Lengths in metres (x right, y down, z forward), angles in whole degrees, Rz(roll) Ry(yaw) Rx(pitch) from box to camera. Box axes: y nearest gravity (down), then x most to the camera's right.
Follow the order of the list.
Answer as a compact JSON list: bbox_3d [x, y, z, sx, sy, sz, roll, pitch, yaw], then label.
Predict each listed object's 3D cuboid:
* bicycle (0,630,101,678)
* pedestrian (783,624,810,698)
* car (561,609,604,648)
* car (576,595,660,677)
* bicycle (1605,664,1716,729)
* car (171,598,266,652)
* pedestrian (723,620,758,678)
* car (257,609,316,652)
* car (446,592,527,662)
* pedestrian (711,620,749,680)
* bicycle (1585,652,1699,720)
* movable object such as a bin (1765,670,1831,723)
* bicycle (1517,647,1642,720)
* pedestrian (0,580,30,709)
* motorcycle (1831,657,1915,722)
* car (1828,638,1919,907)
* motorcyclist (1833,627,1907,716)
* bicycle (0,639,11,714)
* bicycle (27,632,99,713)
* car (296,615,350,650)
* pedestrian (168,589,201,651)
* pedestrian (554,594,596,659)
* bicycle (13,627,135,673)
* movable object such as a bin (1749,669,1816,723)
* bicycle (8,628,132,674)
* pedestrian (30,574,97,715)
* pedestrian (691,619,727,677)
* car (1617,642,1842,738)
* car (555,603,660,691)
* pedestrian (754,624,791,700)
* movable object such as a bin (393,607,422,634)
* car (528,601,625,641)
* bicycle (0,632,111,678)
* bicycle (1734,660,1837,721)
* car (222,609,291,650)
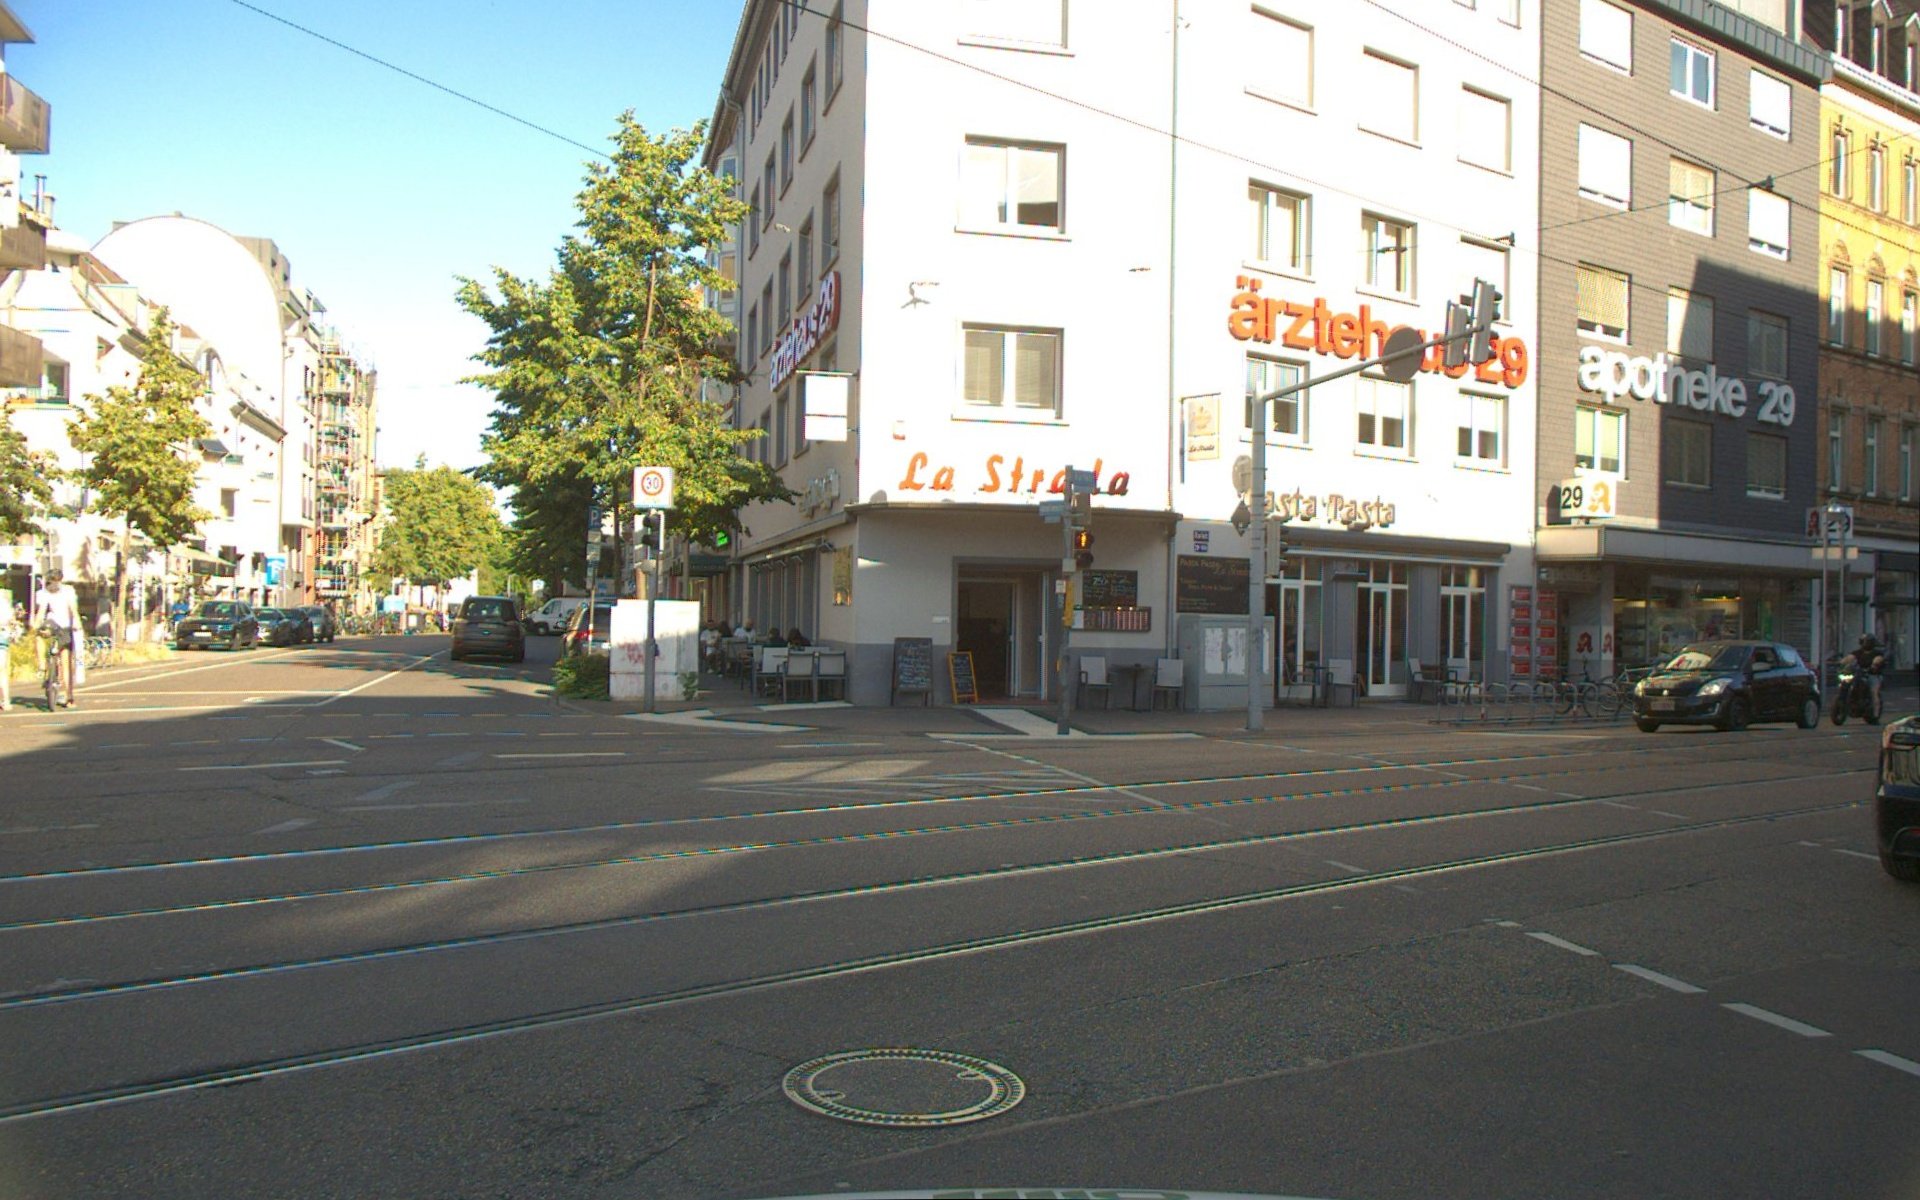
[{"bbox_3d":[-19.405,1.148,34.941,2.192,0.975,0.650,2,-1,-27],"label":"bicycle"},{"bbox_3d":[-3.021,1.123,30.571,0.478,1.345,0.652,1,-1,-6],"label":"pedestrian"},{"bbox_3d":[-18.966,1.404,83.102,1.959,1.856,3.986,2,-1,-13],"label":"car"},{"bbox_3d":[-8.488,0.862,40.831,1.871,1.884,4.273,2,-1,-13],"label":"car"},{"bbox_3d":[14.020,1.914,33.139,0.767,1.213,1.911,2,-1,-42],"label":"bicycle"},{"bbox_3d":[-24.190,0.811,54.073,1.959,1.626,3.988,2,-1,-12],"label":"car"},{"bbox_3d":[-5.350,1.177,40.245,0.718,1.384,0.955,1,-1,-14],"label":"pedestrian"},{"bbox_3d":[-27.043,1.202,66.514,1.689,1.638,3.583,1,-1,-14],"label":"car"},{"bbox_3d":[-12.849,0.724,45.072,1.871,1.764,4.273,2,-1,-13],"label":"car"},{"bbox_3d":[-5.419,1.165,38.923,0.719,1.371,1.055,1,-1,-16],"label":"pedestrian"},{"bbox_3d":[13.430,1.672,32.627,0.767,1.193,1.911,2,0,-42],"label":"bicycle"},{"bbox_3d":[18.482,2.109,36.465,0.691,1.082,1.088,2,0,-37],"label":"movable object such as a bin"},{"bbox_3d":[11.774,1.573,31.488,0.767,1.245,2.077,2,0,-42],"label":"bicycle"},{"bbox_3d":[-13.317,0.604,22.804,0.769,1.758,0.554,3,-1,-29],"label":"pedestrian"},{"bbox_3d":[16.590,1.618,30.035,2.095,1.139,0.564,2,-2,-38],"label":"motorcycle"},{"bbox_3d":[7.169,1.000,10.096,4.323,1.452,1.848,2,0,-41],"label":"car"},{"bbox_3d":[16.580,1.292,30.125,1.133,1.585,0.795,2,-2,-37],"label":"motorcyclist"},{"bbox_3d":[-13.246,1.034,22.367,0.545,0.985,1.780,1,-1,-25],"label":"bicycle"},{"bbox_3d":[-12.379,0.983,22.864,0.749,1.025,1.711,-1,0,-25],"label":"bicycle"},{"bbox_3d":[-27.462,1.395,71.392,1.757,1.427,3.890,2,-1,-15],"label":"car"},{"bbox_3d":[-26.561,0.678,56.628,0.940,2.049,1.080,-2,0,-27],"label":"pedestrian"},{"bbox_3d":[-11.718,0.804,50.333,0.938,1.949,1.105,1,-1,2],"label":"pedestrian"},{"bbox_3d":[-20.170,1.142,37.712,2.366,1.023,0.651,2,-1,-25],"label":"bicycle"},{"bbox_3d":[17.913,2.087,36.027,0.727,1.090,1.088,2,0,-37],"label":"movable object such as a bin"},{"bbox_3d":[-19.845,1.142,36.937,2.358,0.995,0.651,2,-1,-25],"label":"bicycle"},{"bbox_3d":[-12.407,0.595,22.912,0.769,1.899,0.992,-1,0,-28],"label":"pedestrian"},{"bbox_3d":[-6.059,1.160,39.902,0.698,1.371,1.055,1,-1,-17],"label":"pedestrian"},{"bbox_3d":[12.747,1.462,27.326,4.095,1.471,1.695,2,-3,-38],"label":"car"},{"bbox_3d":[-7.390,0.945,34.502,1.967,1.665,4.273,2,-1,-13],"label":"car"},{"bbox_3d":[-3.368,1.103,29.682,0.576,1.336,0.558,1,-1,-14],"label":"pedestrian"},{"bbox_3d":[-30.671,1.142,91.835,1.295,1.432,1.059,2,-1,-31],"label":"movable object such as a bin"},{"bbox_3d":[-21.873,1.183,94.279,5.302,2.183,1.992,1,-1,-15],"label":"car"},{"bbox_3d":[-19.637,1.187,35.633,2.367,0.975,0.541,2,-1,-27],"label":"bicycle"},{"bbox_3d":[17.663,1.922,35.413,0.547,1.211,1.911,2,-1,-41],"label":"bicycle"},{"bbox_3d":[-25.824,1.069,60.804,1.757,1.427,3.890,2,-1,-15],"label":"car"}]
